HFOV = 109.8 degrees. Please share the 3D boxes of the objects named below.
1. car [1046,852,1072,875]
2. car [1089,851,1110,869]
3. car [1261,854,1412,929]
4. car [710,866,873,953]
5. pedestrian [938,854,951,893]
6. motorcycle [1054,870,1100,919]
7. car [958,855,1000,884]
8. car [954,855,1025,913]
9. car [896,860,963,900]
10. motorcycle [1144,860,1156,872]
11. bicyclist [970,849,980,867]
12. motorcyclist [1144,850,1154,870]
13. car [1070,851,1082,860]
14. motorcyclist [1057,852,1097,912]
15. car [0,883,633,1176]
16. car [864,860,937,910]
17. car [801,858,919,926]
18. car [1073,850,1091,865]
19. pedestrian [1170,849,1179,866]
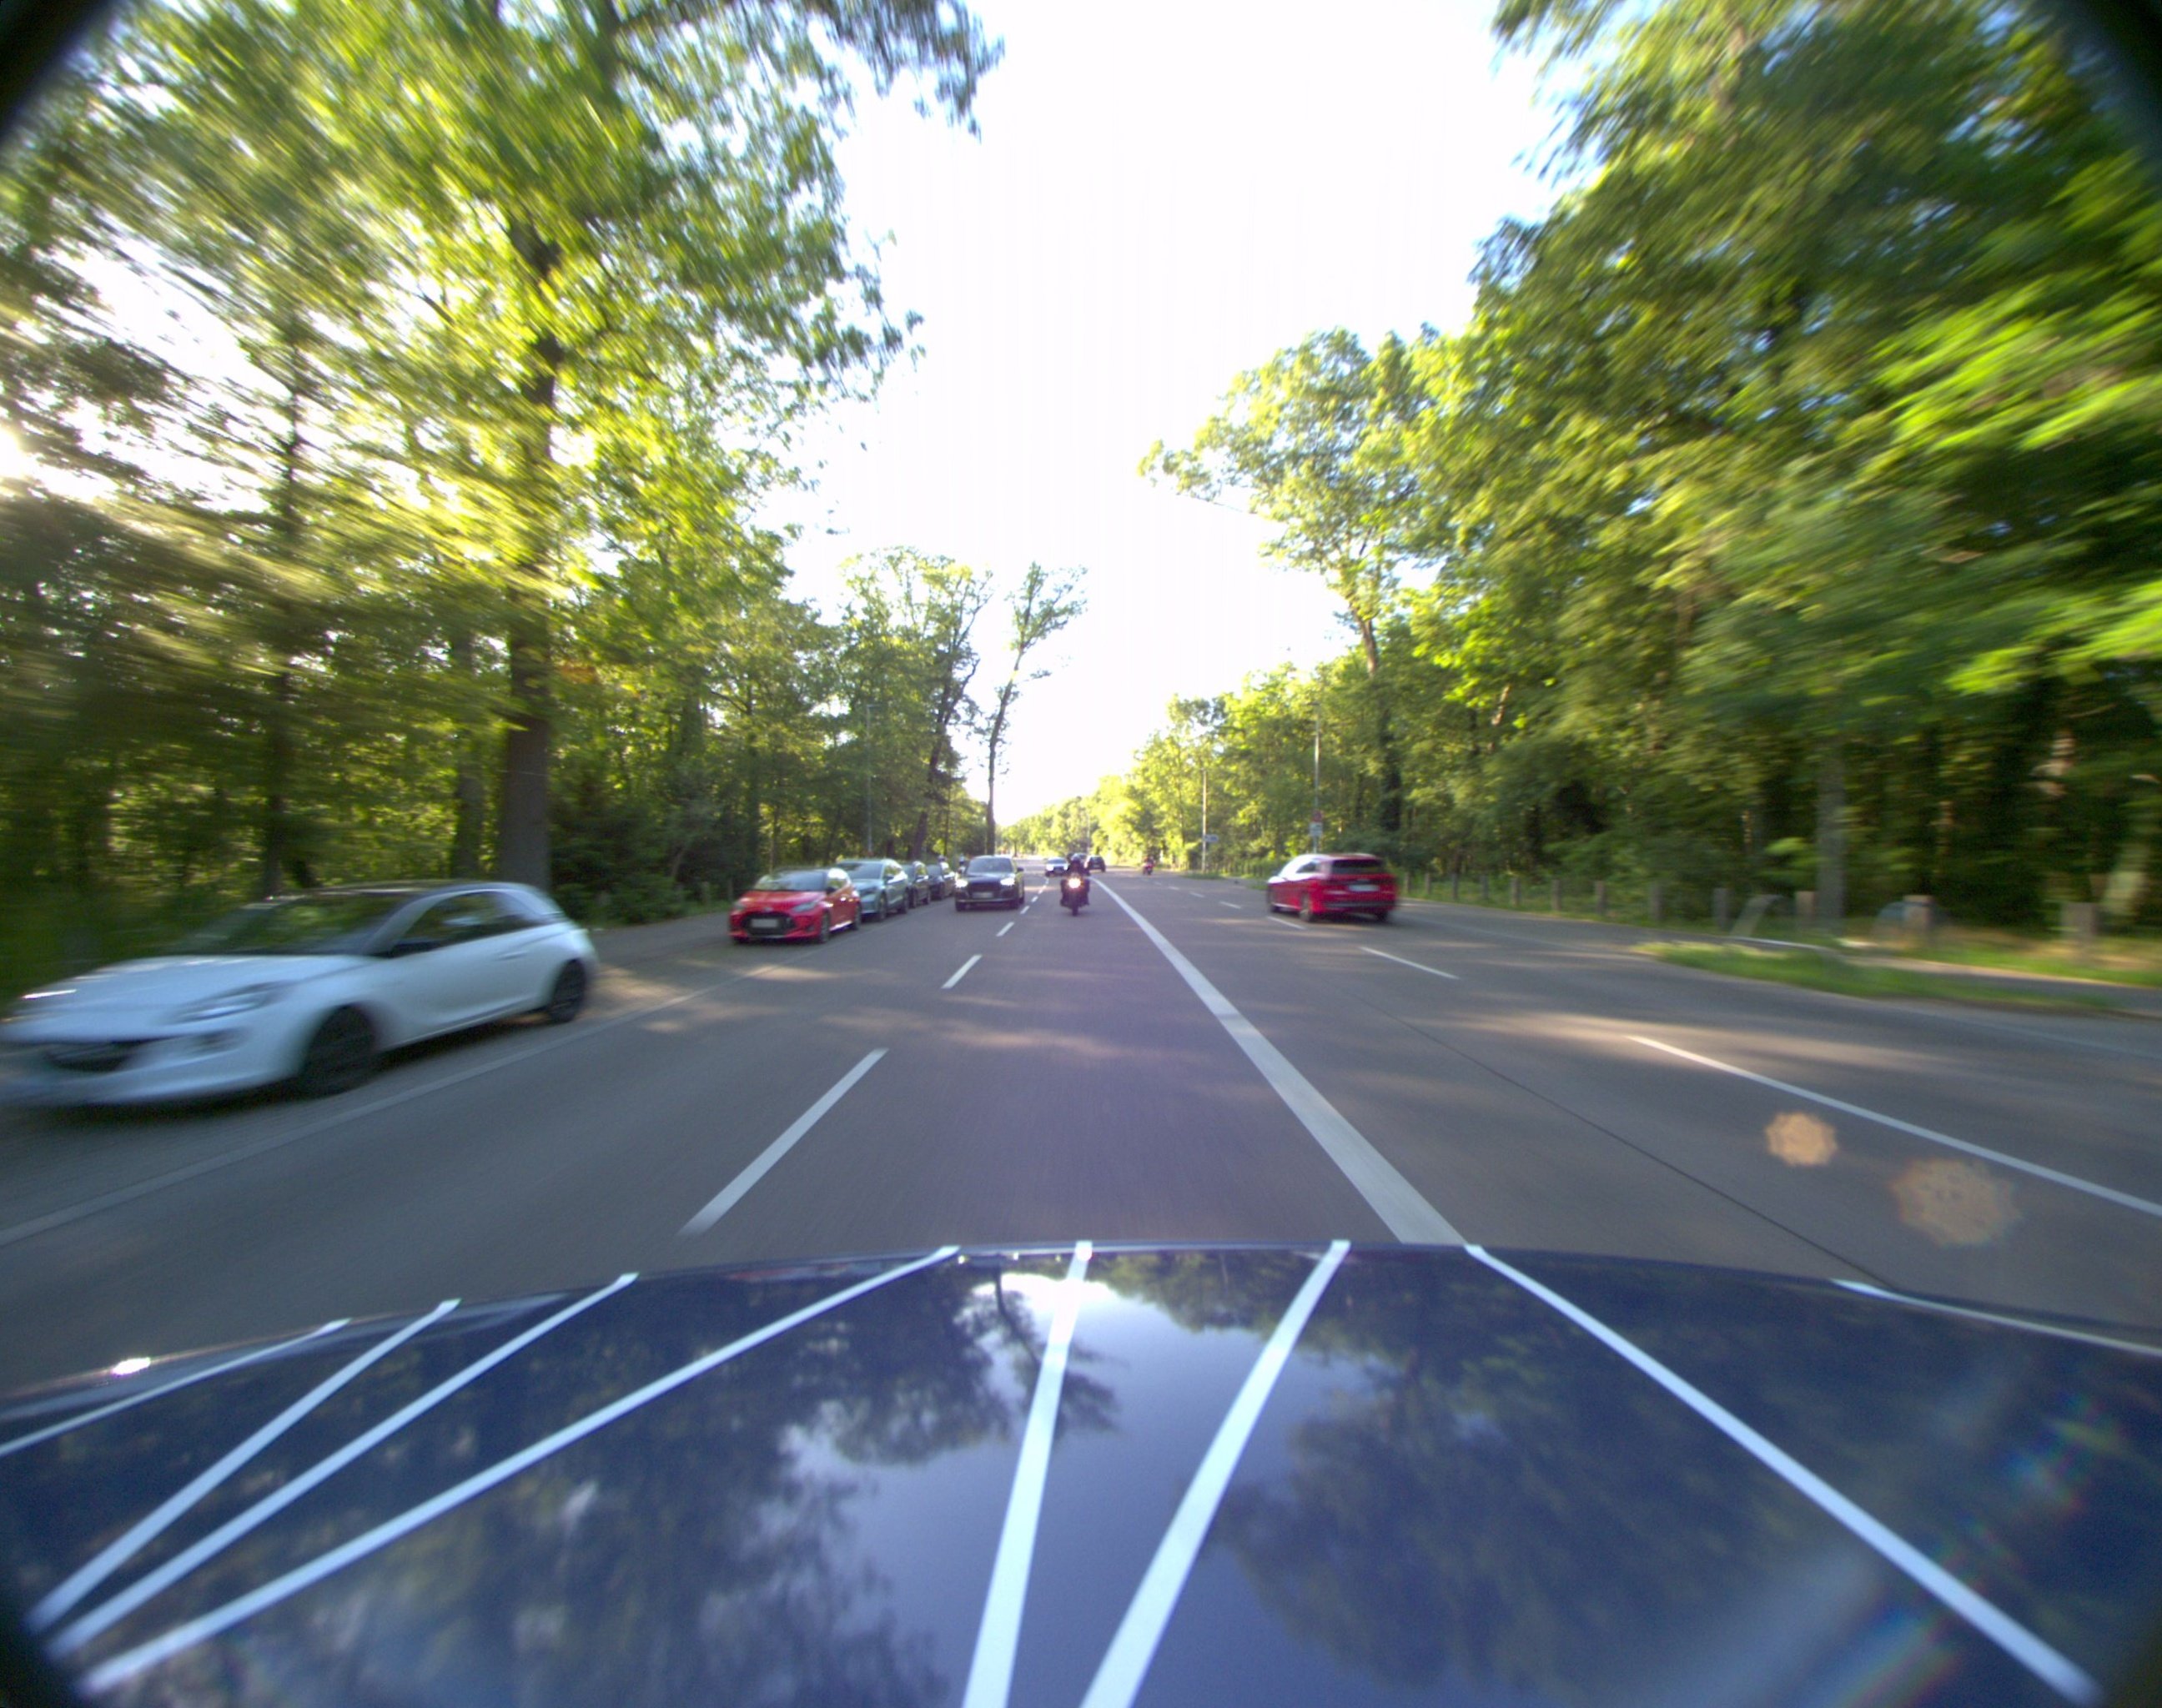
[{"bbox_3d":[-1.769,0.700,60.879,1.999,1.761,4.231,-1,0,-1],"label":"car"},{"bbox_3d":[1.758,0.535,71.665,1.810,1.536,4.089,-1,0,-1],"label":"car"},{"bbox_3d":[5.645,0.749,17.505,1.828,1.454,4.925,-1,0,0],"label":"car"},{"bbox_3d":[-5.877,1.048,16.076,1.858,1.448,4.462,1,0,-2],"label":"car"},{"bbox_3d":[-6.109,0.863,34.027,0.513,1.746,0.735,0,1,-14],"label":"pedestrian"},{"bbox_3d":[-0.152,1.057,20.847,0.956,1.098,3.338,-3,0,-4],"label":"motorcycle"},{"bbox_3d":[-5.946,0.859,44.758,1.811,1.551,4.456,1,0,0],"label":"car"},{"bbox_3d":[-2.795,0.872,24.013,1.861,1.608,3.998,-1,1,-2],"label":"car"},{"bbox_3d":[-6.086,0.999,31.027,1.857,1.426,4.534,0,0,0],"label":"car"},{"bbox_3d":[5.213,0.889,57.630,0.670,0.899,2.166,-1,0,-1],"label":"motorcycle"},{"bbox_3d":[-8.990,0.329,64.225,0.703,1.552,0.876,1,1,-1],"label":"bicyclist"},{"bbox_3d":[5.185,0.450,57.775,0.658,1.532,0.904,-1,1,-1],"label":"motorcyclist"},{"bbox_3d":[-0.967,0.249,141.452,1.999,1.649,4.447,-1,0,-3],"label":"car"},{"bbox_3d":[-0.125,0.739,20.440,0.953,1.523,1.073,-3,1,-4],"label":"motorcyclist"},{"bbox_3d":[-6.070,1.086,6.495,1.857,1.448,4.283,1,0,1],"label":"car"},{"bbox_3d":[-6.027,0.986,25.817,1.599,1.513,3.909,1,0,-1],"label":"car"},{"bbox_3d":[-5.887,0.931,20.827,1.857,1.576,4.722,1,0,-1],"label":"car"},{"bbox_3d":[0.109,0.373,93.881,1.911,1.746,4.798,-1,0,-3],"label":"car"},{"bbox_3d":[9.496,0.330,77.194,0.773,1.758,0.737,1,1,-7],"label":"pedestrian"}]
